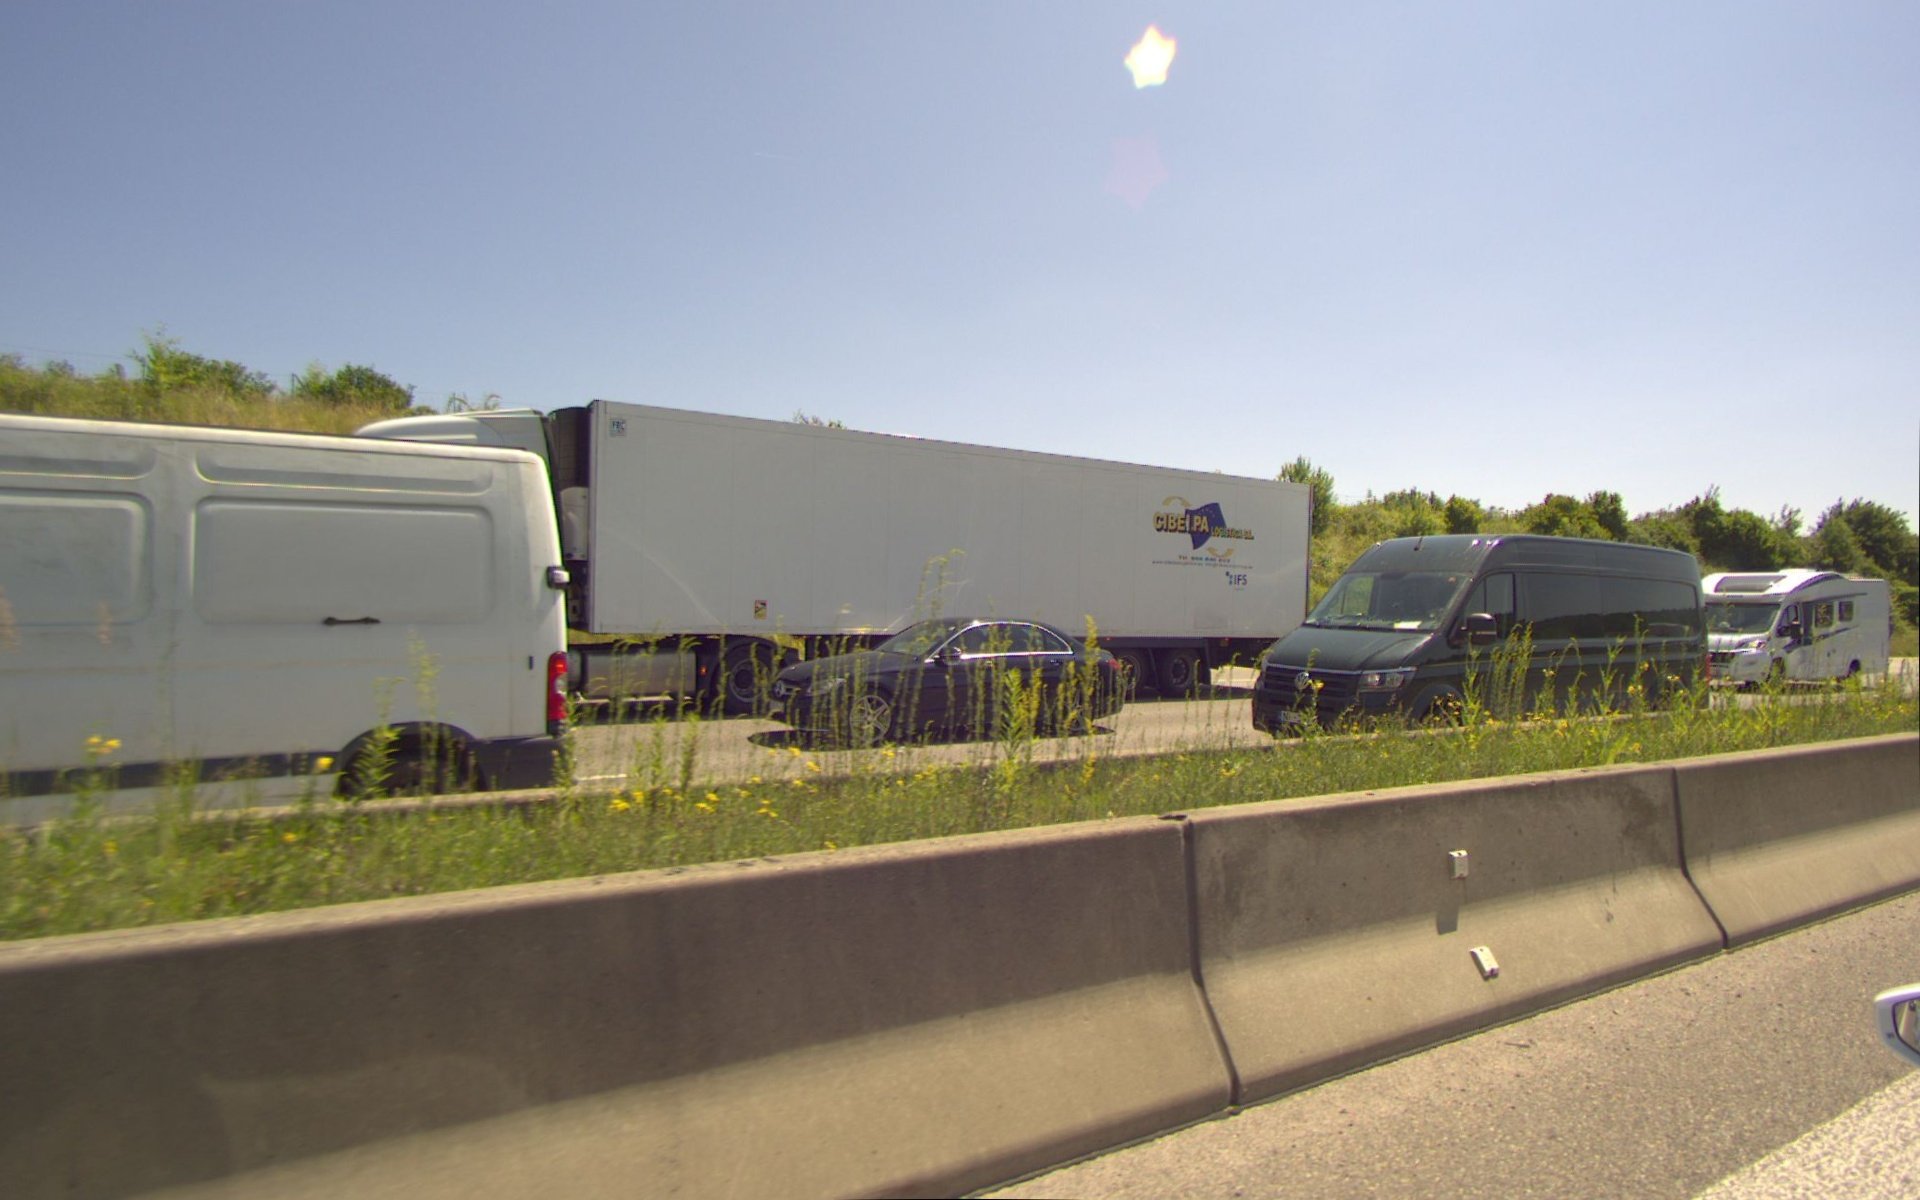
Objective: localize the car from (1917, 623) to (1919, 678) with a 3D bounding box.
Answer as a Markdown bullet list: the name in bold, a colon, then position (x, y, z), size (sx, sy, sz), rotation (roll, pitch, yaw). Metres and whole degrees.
- **car**: position (31.533, 1.592, 30.949), size (4.307, 1.649, 1.873), rotation (2, -1, -30)

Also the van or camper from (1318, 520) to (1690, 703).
- **van or camper**: position (10.618, 0.296, 19.339), size (7.732, 2.976, 2.534), rotation (2, -1, -29)

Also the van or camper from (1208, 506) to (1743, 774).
- **van or camper**: position (6.450, 0.468, 12.106), size (7.200, 2.467, 2.285), rotation (2, -1, -31)

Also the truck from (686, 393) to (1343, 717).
- **truck**: position (1.635, -0.461, 17.853), size (12.278, 4.383, 2.508), rotation (2, 0, -31)

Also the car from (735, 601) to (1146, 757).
- **car**: position (-0.146, 0.883, 12.411), size (4.827, 1.609, 1.810), rotation (2, -1, -31)

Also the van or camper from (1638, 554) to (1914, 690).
- **van or camper**: position (20.440, 0.603, 25.015), size (8.031, 2.976, 2.534), rotation (2, -1, -29)

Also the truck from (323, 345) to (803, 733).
- **truck**: position (-5.287, -0.629, 13.830), size (5.596, 4.383, 2.510), rotation (2, 0, -29)

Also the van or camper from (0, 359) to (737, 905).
- **van or camper**: position (-4.573, 0.165, 5.882), size (5.989, 2.539, 2.182), rotation (2, -1, -31)

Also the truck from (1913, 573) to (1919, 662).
- **truck**: position (44.631, 0.856, 43.850), size (5.962, 3.874, 2.769), rotation (2, 0, -30)
